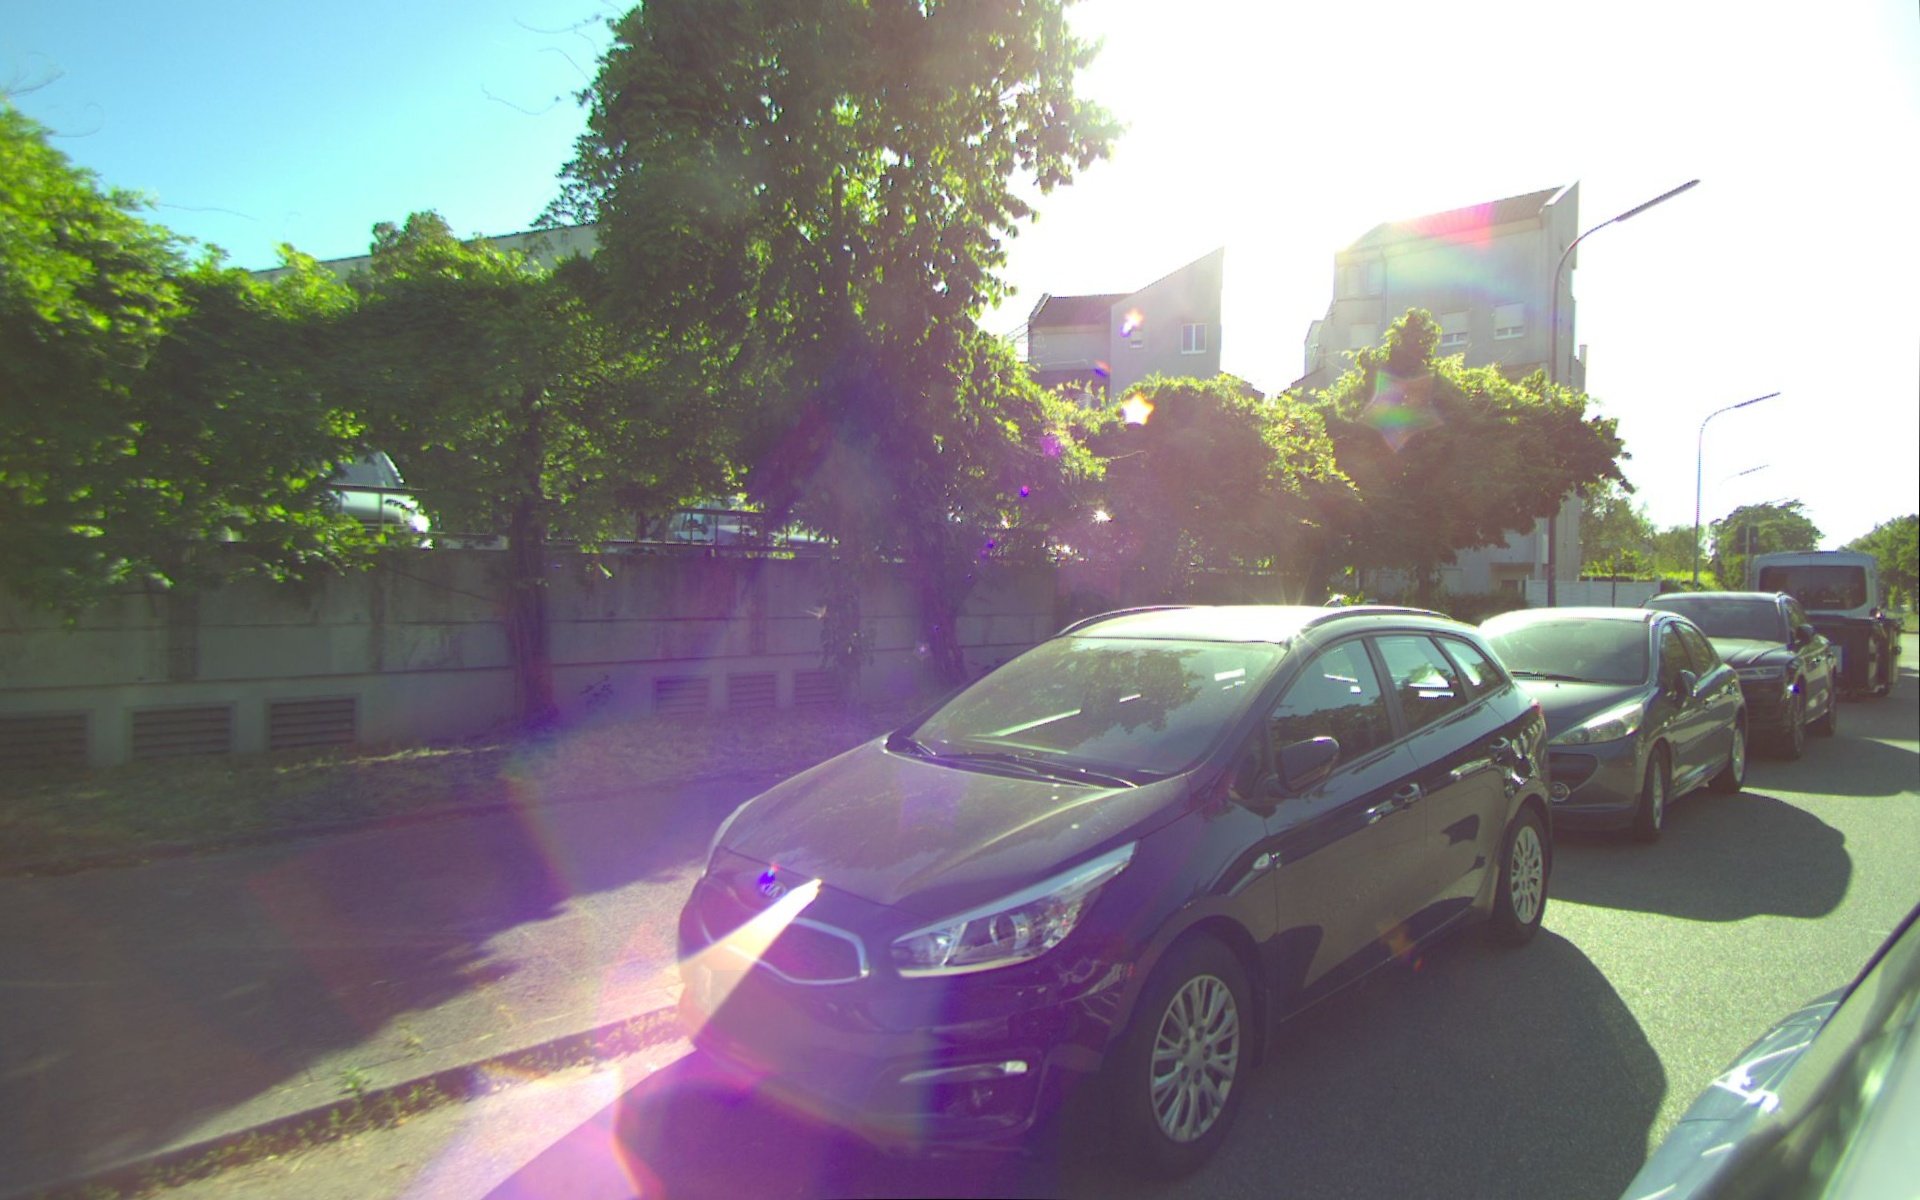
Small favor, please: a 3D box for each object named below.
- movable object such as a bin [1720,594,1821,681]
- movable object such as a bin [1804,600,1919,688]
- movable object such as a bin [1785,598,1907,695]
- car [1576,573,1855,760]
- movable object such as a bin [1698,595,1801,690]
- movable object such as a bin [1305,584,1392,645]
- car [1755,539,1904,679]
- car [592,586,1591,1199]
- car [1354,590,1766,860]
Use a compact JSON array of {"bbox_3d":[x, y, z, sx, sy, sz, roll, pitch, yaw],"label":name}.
[{"bbox_3d":[14.076,0.633,17.581,1.335,1.438,1.110,1,-1,-39],"label":"movable object such as a bin"},{"bbox_3d":[14.892,0.705,16.665,1.101,1.330,1.273,2,1,-37],"label":"movable object such as a bin"},{"bbox_3d":[13.974,0.701,15.978,1.149,1.414,1.231,0,1,-37],"label":"movable object such as a bin"},{"bbox_3d":[8.562,0.603,11.311,4.388,1.685,1.811,0,0,-44],"label":"car"},{"bbox_3d":[13.097,0.669,16.791,1.149,1.466,1.094,-2,1,-39],"label":"movable object such as a bin"},{"bbox_3d":[9.104,0.315,23.743,1.358,1.321,1.415,0,2,-41],"label":"movable object such as a bin"},{"bbox_3d":[18.186,0.132,21.055,2.104,2.517,5.764,0,0,43],"label":"car"},{"bbox_3d":[0.944,0.698,4.017,4.221,1.475,1.683,-1,0,-44],"label":"car"},{"bbox_3d":[4.628,0.713,7.575,3.760,1.507,1.686,0,-1,-44],"label":"car"}]
